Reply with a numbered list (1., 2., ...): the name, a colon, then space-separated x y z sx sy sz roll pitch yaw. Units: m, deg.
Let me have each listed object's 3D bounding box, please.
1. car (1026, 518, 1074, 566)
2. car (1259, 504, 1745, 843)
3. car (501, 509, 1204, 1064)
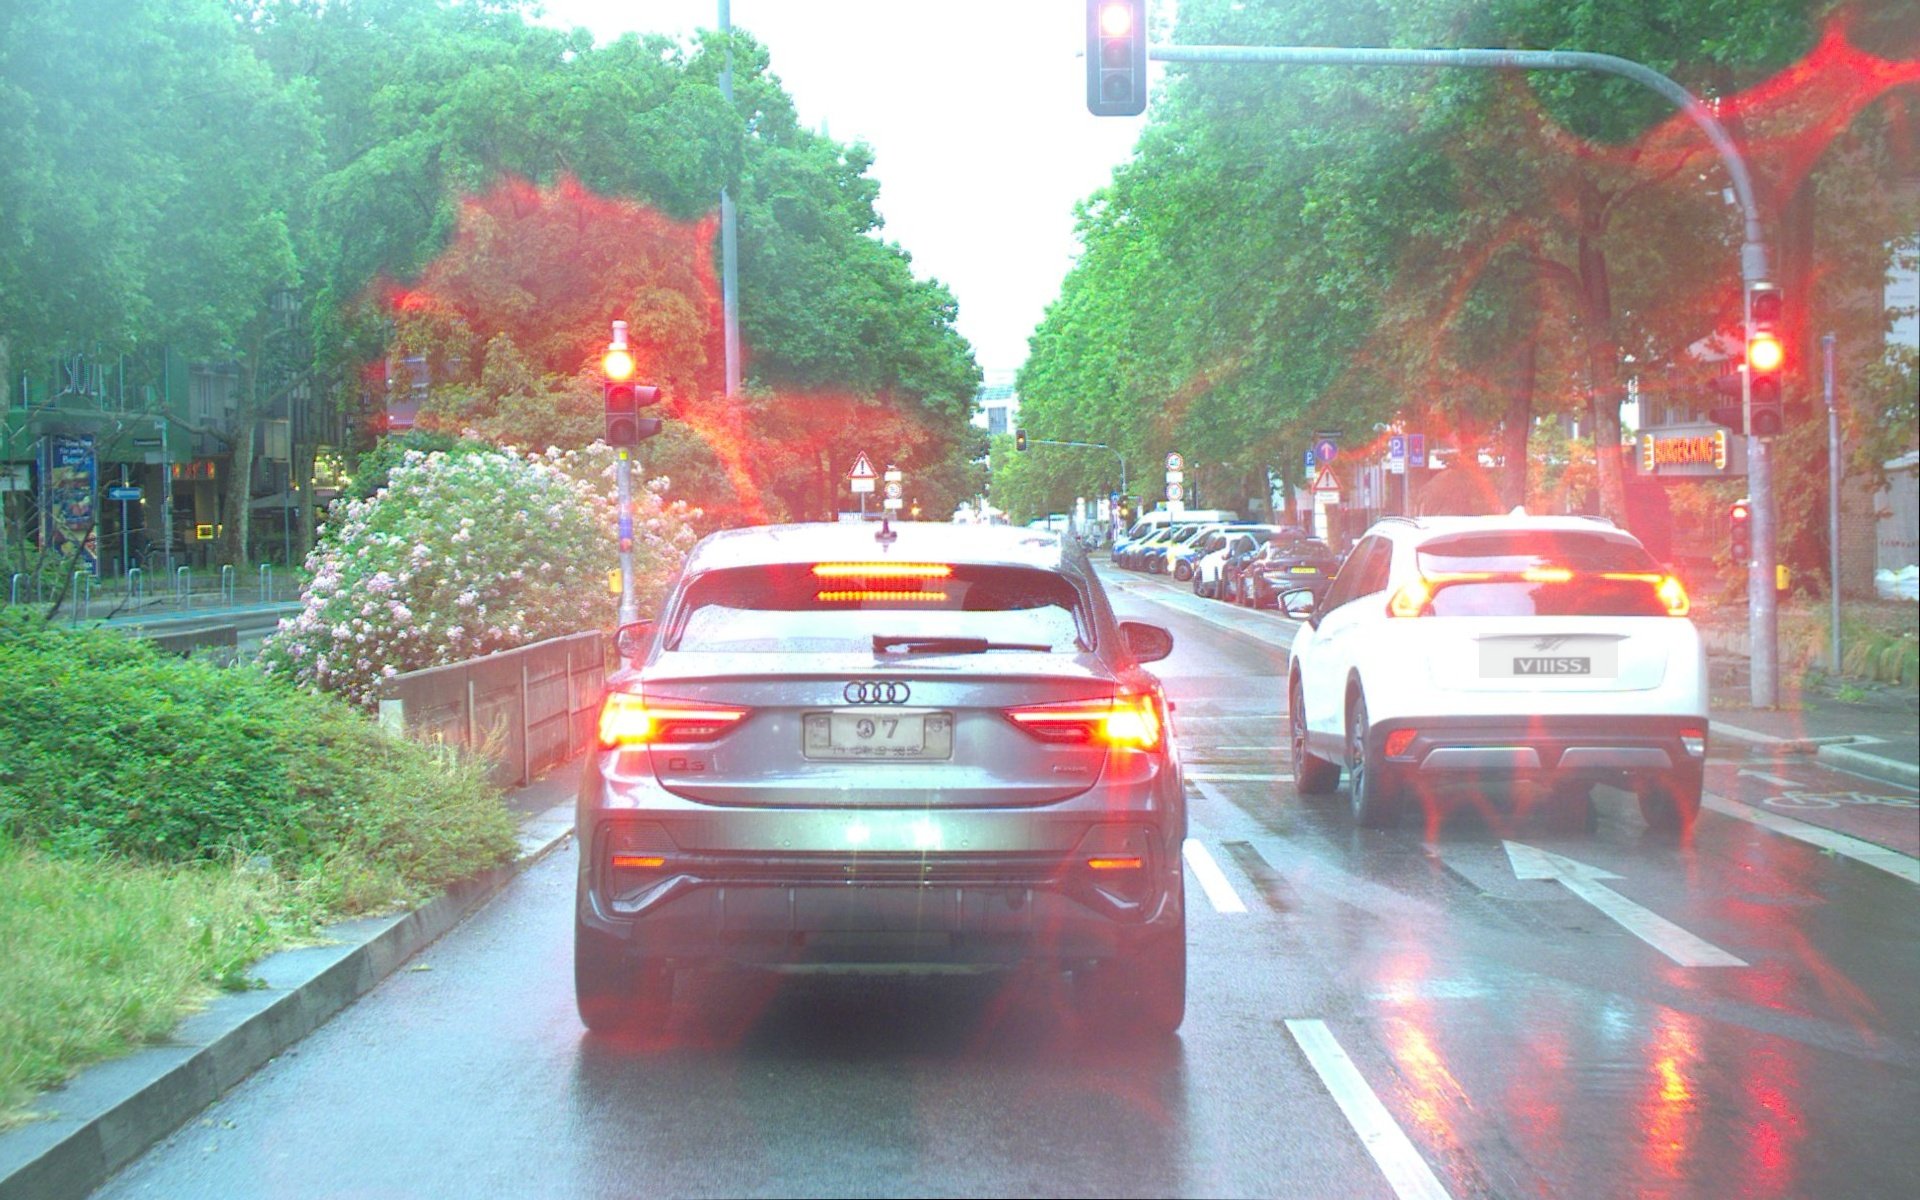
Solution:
1. car: 3.287 -2.149 126.261 1.620 1.660 4.000 -1 2 0
2. car: 2.915 0.302 19.571 1.993 1.649 4.889 0 2 0
3. car: -0.294 0.459 11.429 1.918 1.486 4.000 0 2 0
